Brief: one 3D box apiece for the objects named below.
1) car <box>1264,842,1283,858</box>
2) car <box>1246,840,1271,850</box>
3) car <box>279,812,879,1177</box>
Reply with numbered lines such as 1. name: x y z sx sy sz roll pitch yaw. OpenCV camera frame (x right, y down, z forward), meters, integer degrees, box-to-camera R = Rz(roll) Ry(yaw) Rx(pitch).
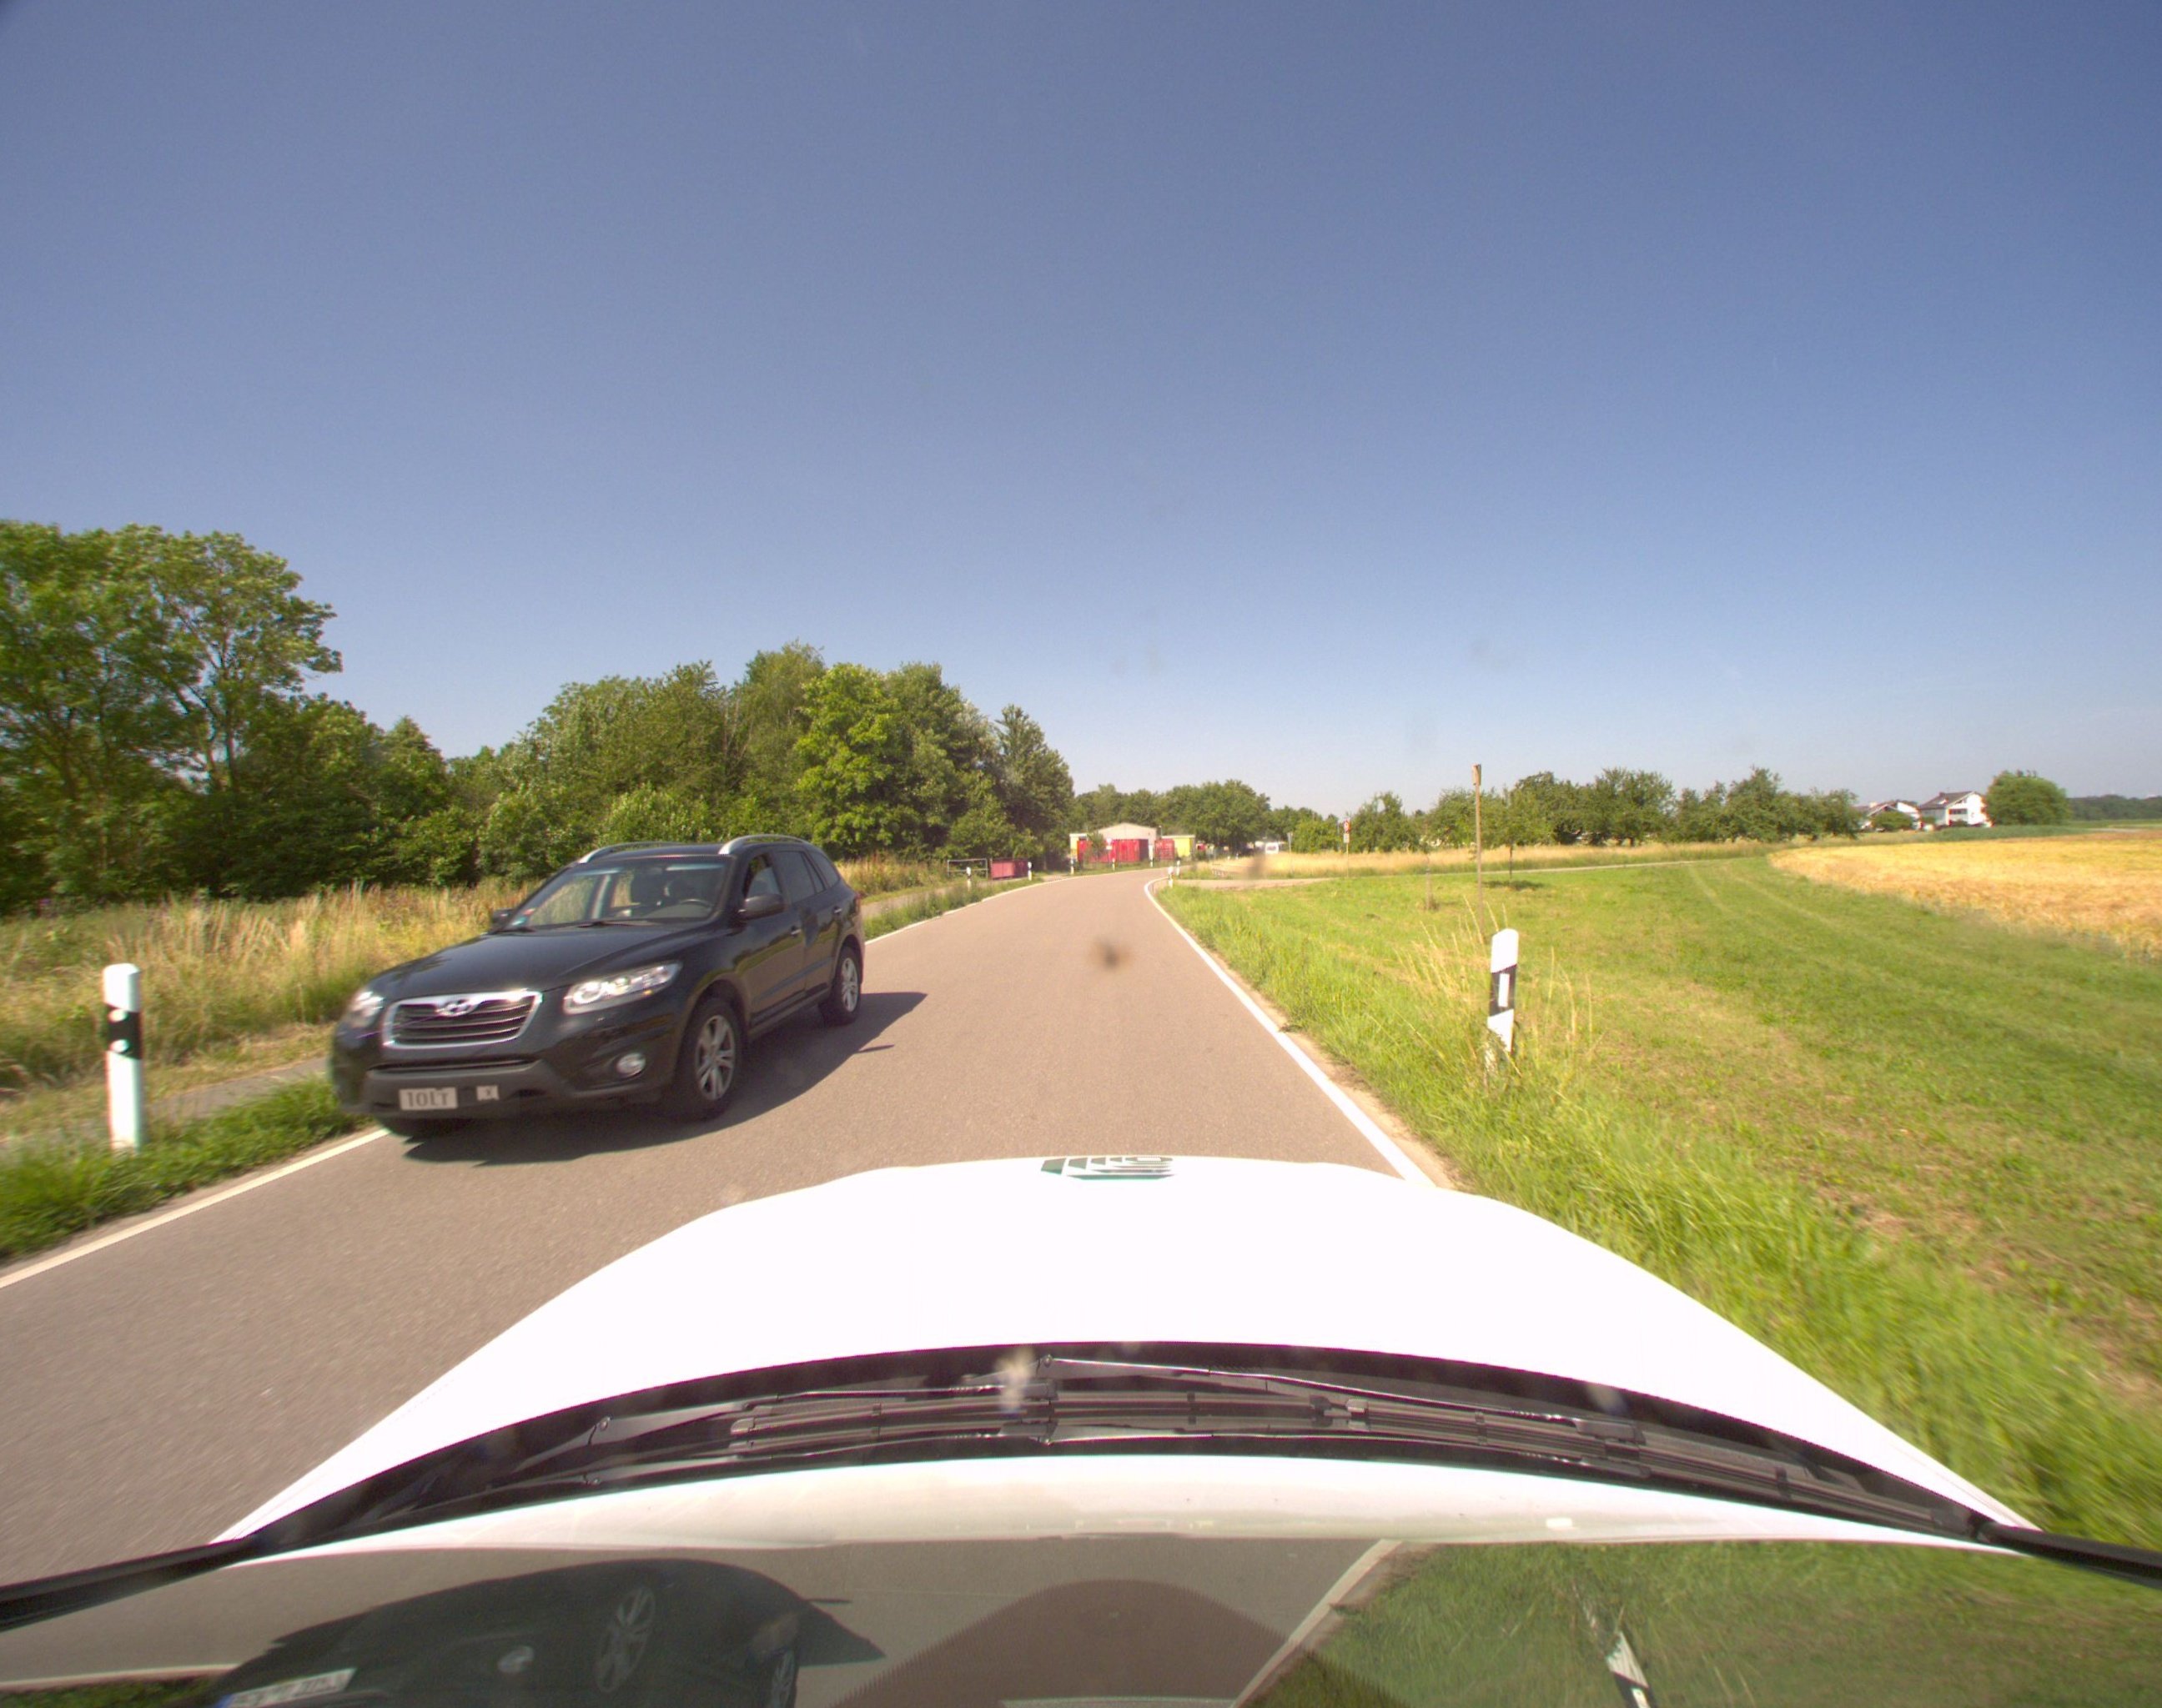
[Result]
1. car: 29.195 -0.651 123.271 1.976 2.266 4.752 -2 0 22
2. car: 42.159 -2.136 193.175 5.608 2.266 1.989 -2 0 -17
3. car: -3.103 0.712 6.318 1.859 1.752 4.296 -3 0 0
